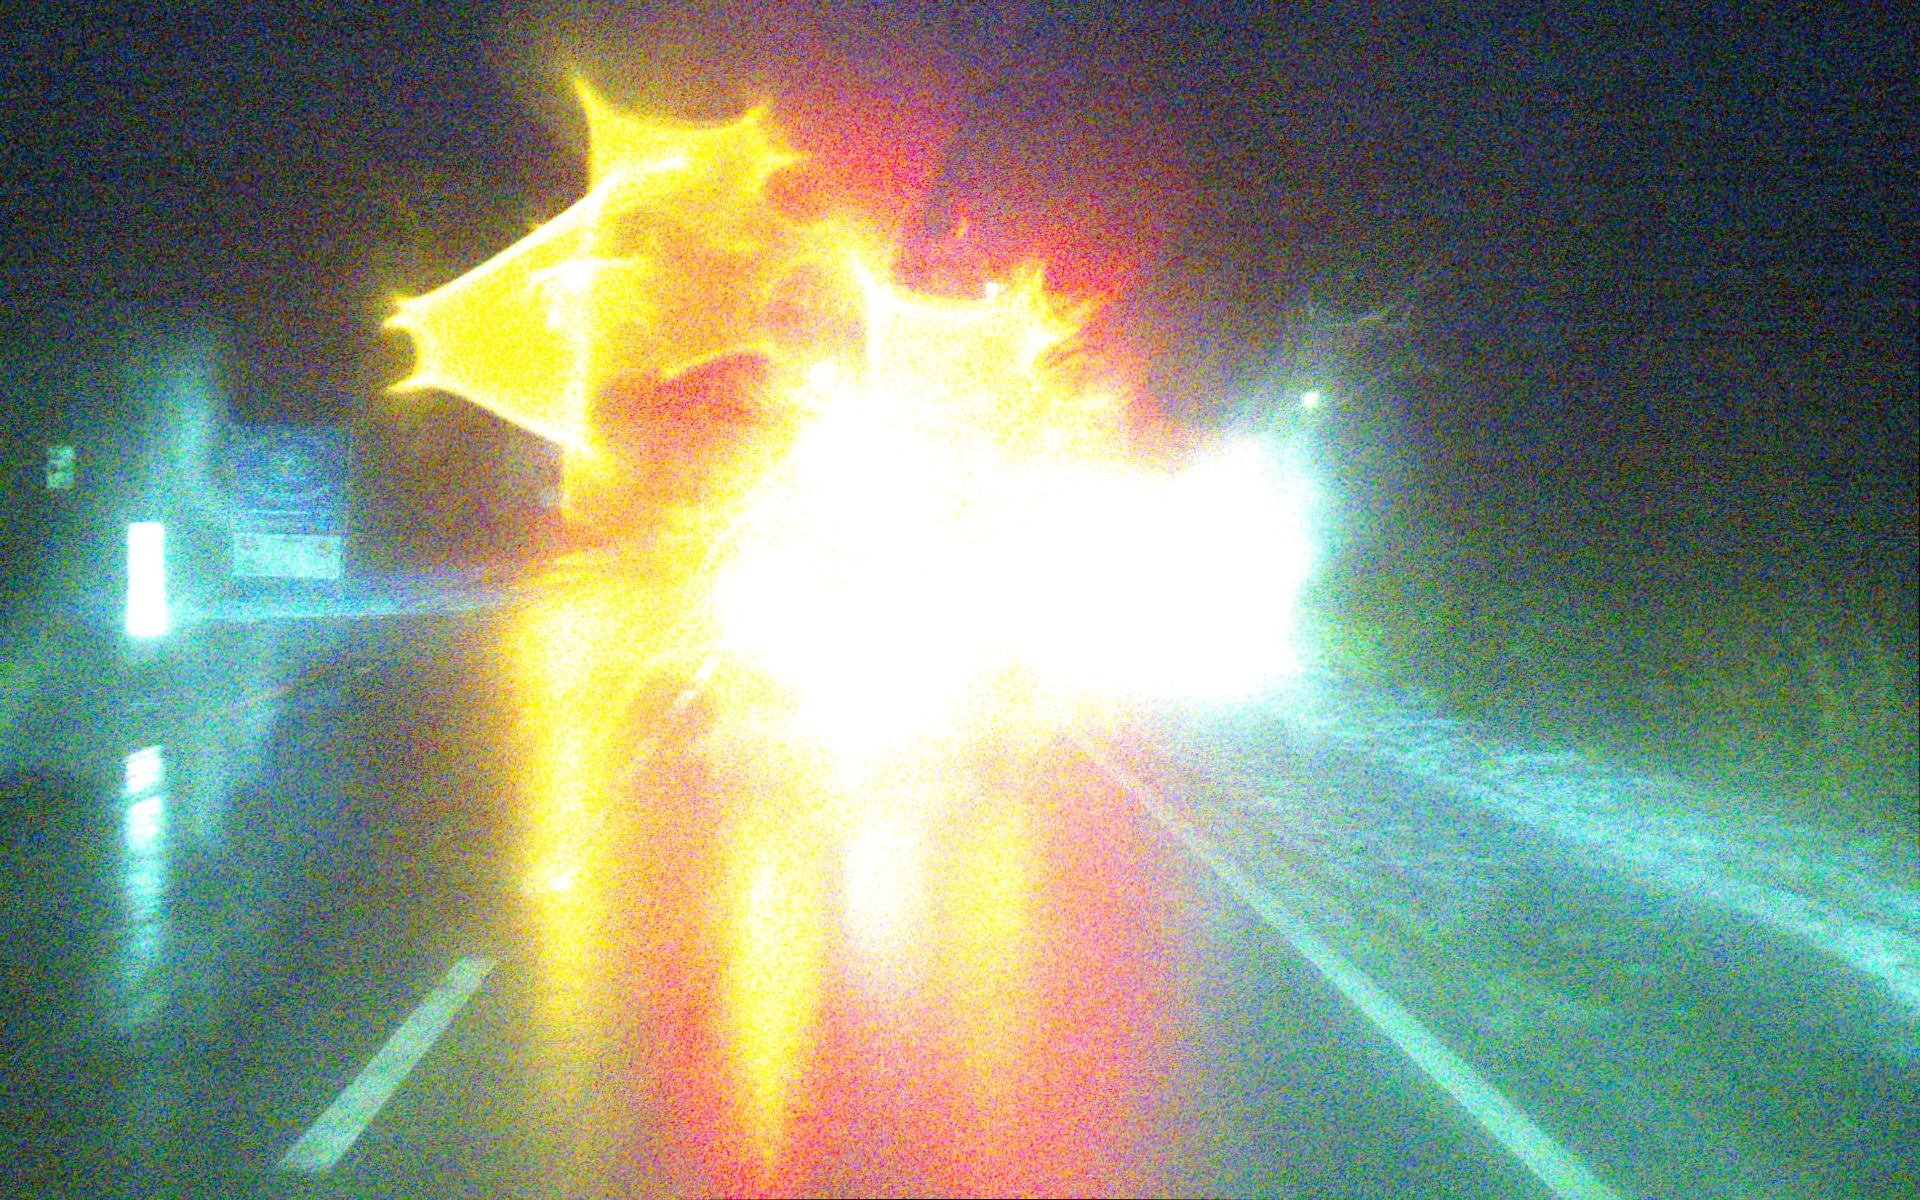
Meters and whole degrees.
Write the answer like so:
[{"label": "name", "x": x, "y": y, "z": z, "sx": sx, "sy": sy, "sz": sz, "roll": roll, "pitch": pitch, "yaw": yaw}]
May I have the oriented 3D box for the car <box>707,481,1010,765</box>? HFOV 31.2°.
[{"label": "car", "x": -0.576, "y": 0.082, "z": 22.270, "sx": 1.791, "sy": 1.675, "sz": 3.905, "roll": 0, "pitch": 2, "yaw": 1}]
